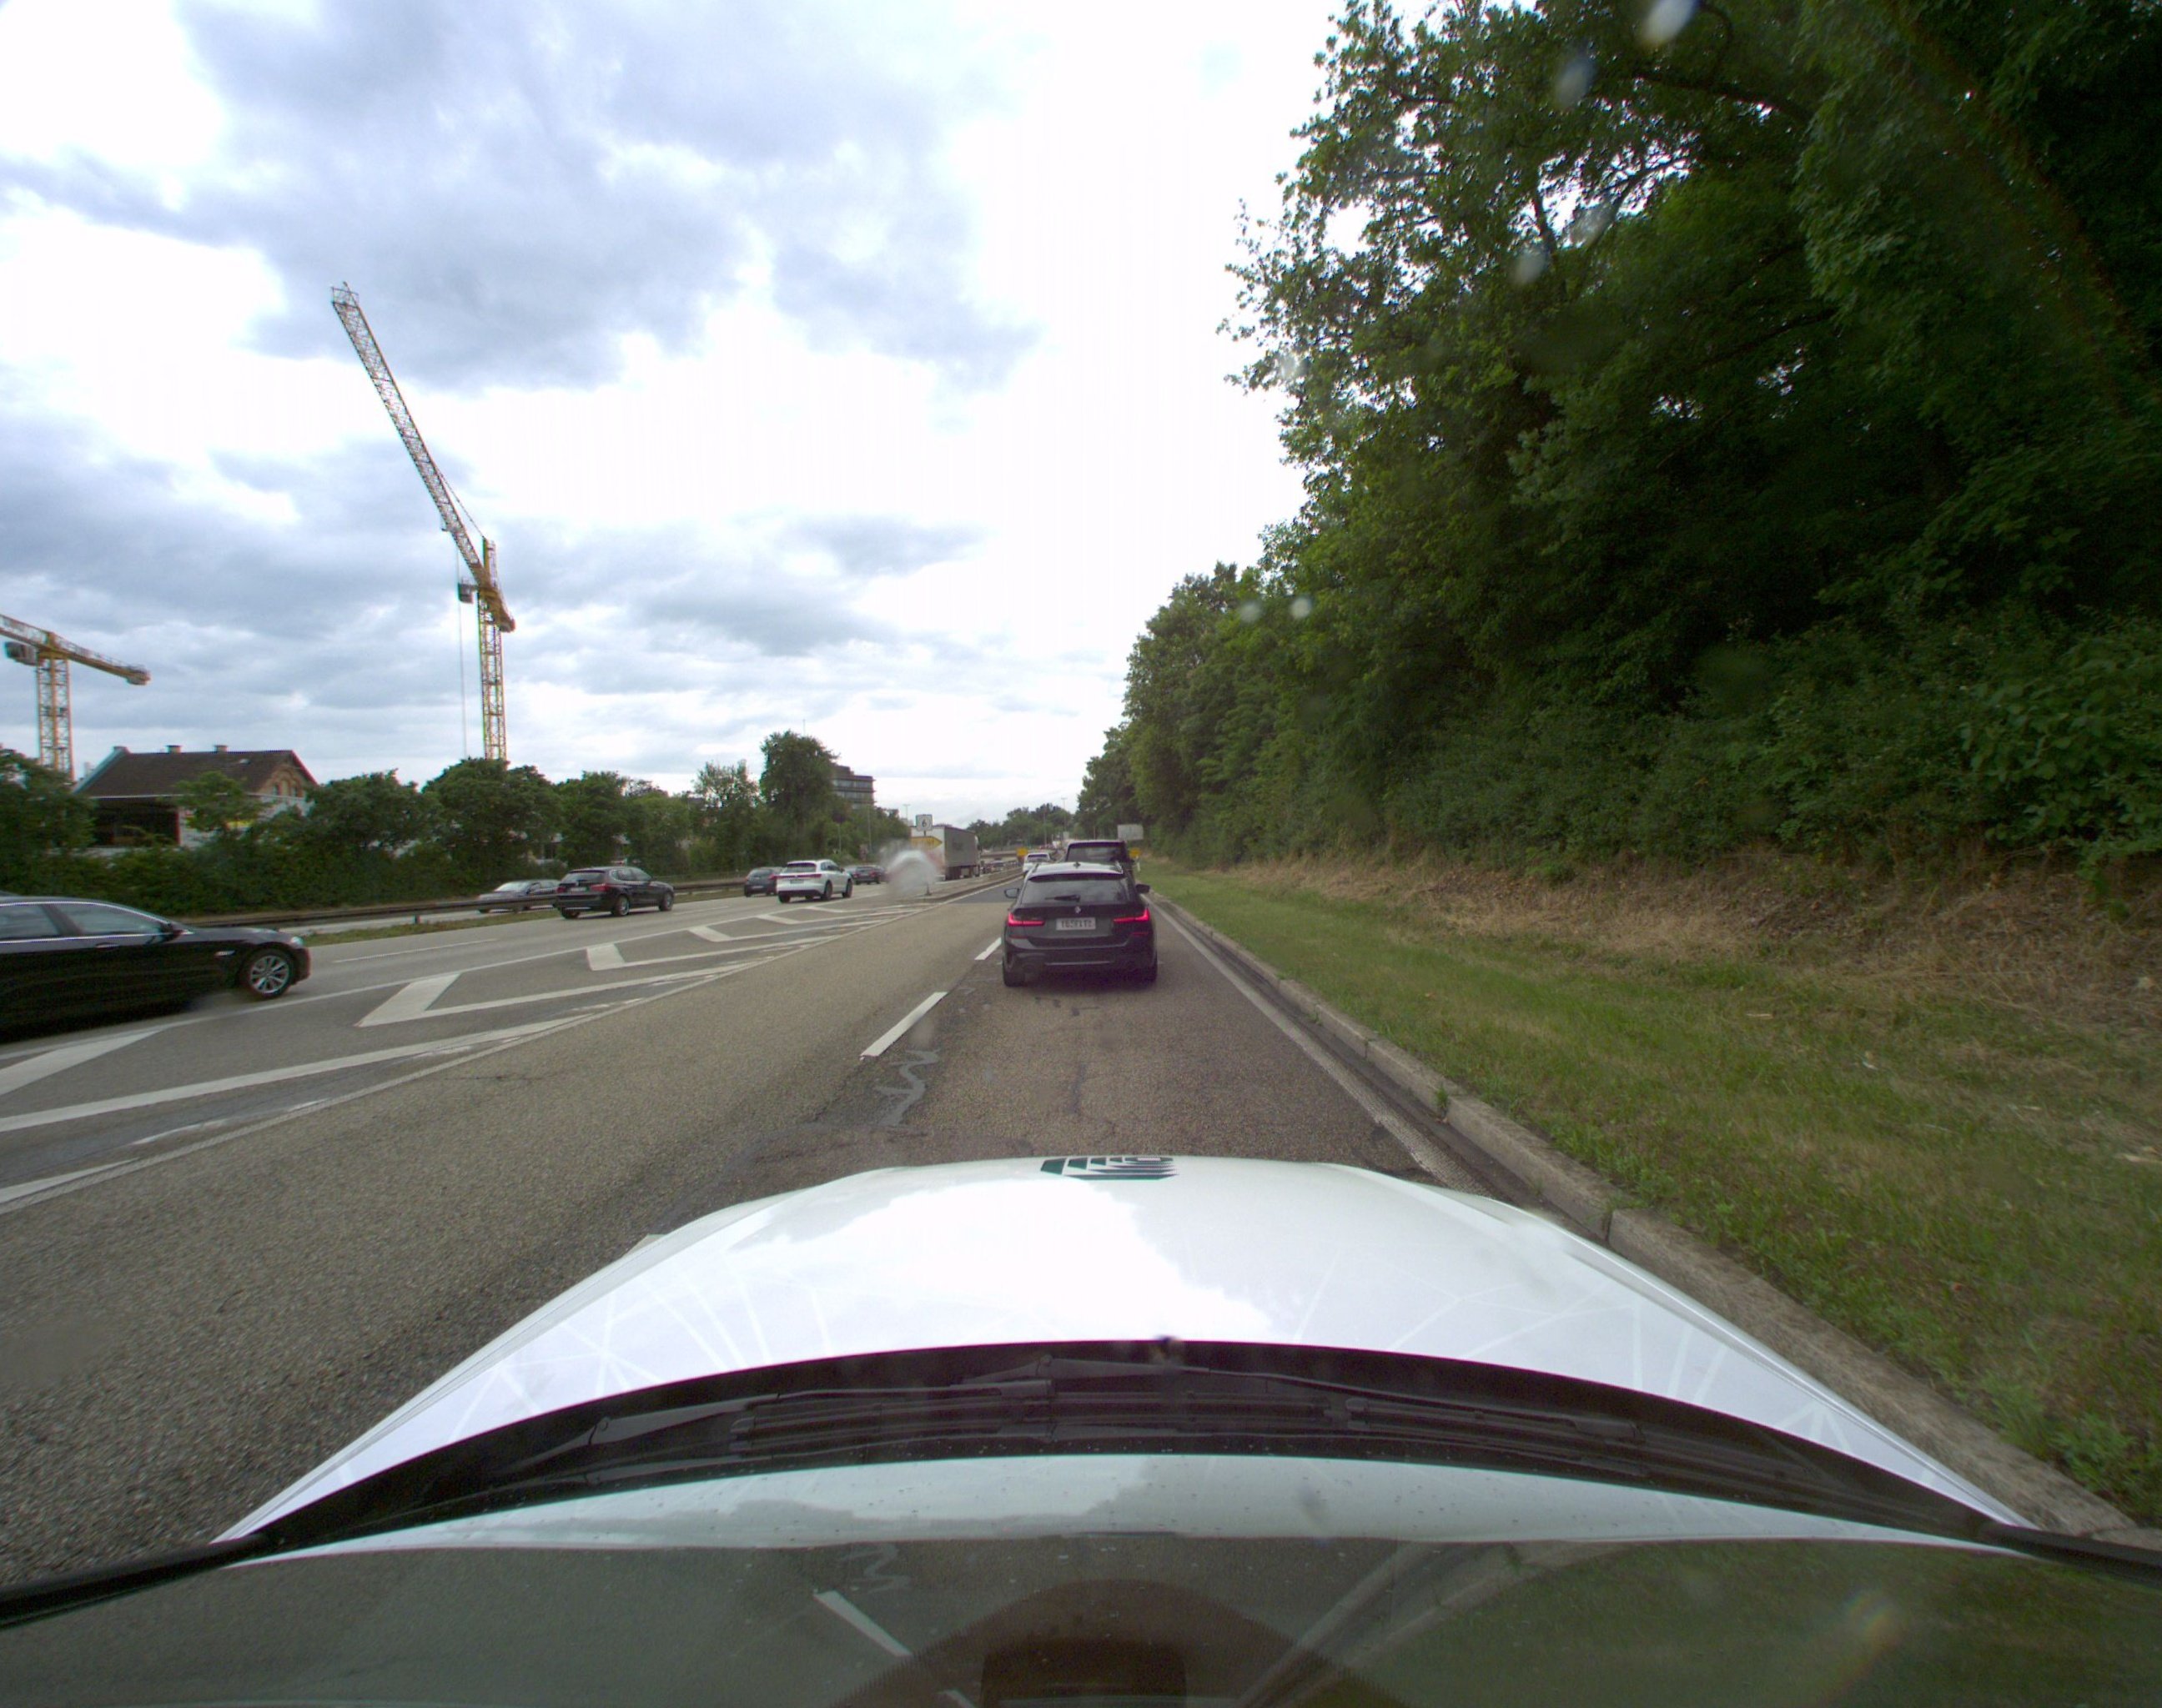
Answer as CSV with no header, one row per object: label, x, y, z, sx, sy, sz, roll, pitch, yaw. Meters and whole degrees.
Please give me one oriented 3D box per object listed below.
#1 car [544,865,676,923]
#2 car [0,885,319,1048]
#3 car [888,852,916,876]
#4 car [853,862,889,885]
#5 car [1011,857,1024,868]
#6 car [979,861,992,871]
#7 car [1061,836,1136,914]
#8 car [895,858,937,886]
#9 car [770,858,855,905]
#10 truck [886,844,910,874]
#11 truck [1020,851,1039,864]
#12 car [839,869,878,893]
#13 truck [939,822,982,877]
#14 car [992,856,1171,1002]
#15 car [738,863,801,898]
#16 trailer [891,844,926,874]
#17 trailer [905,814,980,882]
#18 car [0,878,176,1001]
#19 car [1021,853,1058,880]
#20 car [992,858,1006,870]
car,-15.780,1.270,27.569,1.884,1.681,4.305,-3,0,0
car,-11.293,1.180,8.692,1.705,1.456,4.670,-2,0,3
car,-15.683,0.853,71.557,1.438,2.044,3.682,-3,0,2
car,-15.551,1.422,60.453,1.682,1.632,3.734,-1,0,0
car,-8.846,1.153,114.088,1.443,1.490,3.063,-3,0,2
car,-14.579,1.863,124.548,1.587,1.432,3.063,-3,0,2
car,0.477,0.513,22.006,1.789,1.872,4.001,-2,0,1
car,-10.029,1.090,49.645,1.763,1.549,3.492,-3,0,0
car,-11.073,1.073,33.965,1.939,1.692,4.507,-3,0,1
truck,-25.696,0.712,114.341,2.399,4.020,3.998,-3,0,-1
truck,-10.672,0.740,169.506,3.263,2.509,7.661,-3,0,1
car,-13.635,1.649,50.056,1.380,1.306,3.351,-3,0,1
truck,-10.627,-0.386,72.295,3.073,4.697,4.232,-1,0,1
car,-0.008,0.798,10.632,1.841,1.466,3.999,-2,0,-1
car,-15.947,1.322,41.909,1.682,1.608,4.007,-1,0,0
trailer,-25.797,0.711,122.283,2.390,4.029,13.072,-3,0,-1
trailer,-10.740,-0.418,65.094,3.122,4.725,14.560,-1,0,1
car,-15.825,1.249,11.254,1.745,1.635,4.268,-2,0,1
car,-2.637,0.776,52.612,1.923,1.596,3.879,-3,0,2
car,-10.365,1.222,103.272,1.372,1.398,3.063,-3,0,2
